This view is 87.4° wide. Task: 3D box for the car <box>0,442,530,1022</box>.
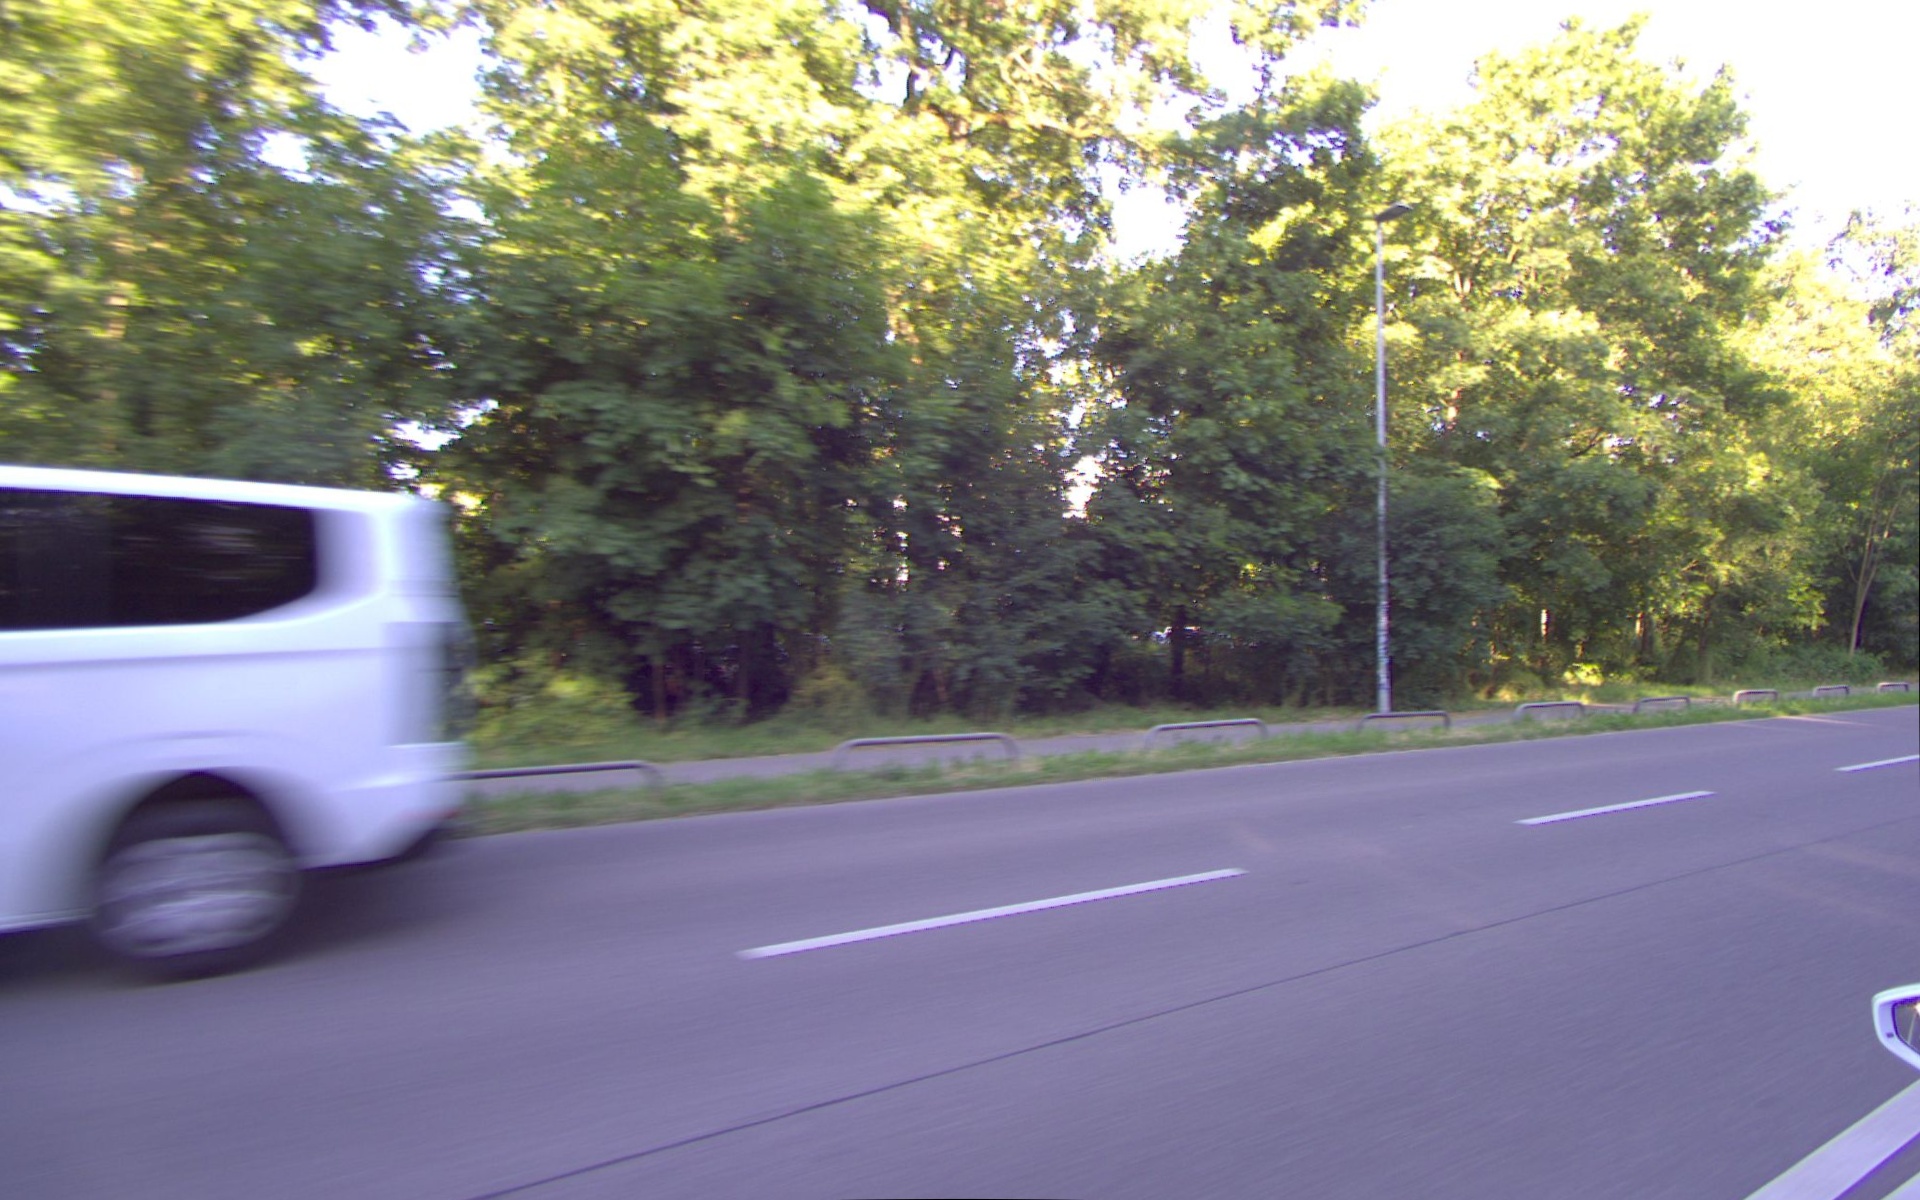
[{"bbox_3d":[-4.511,0.437,3.927,4.943,2.018,1.982,2,-1,-32],"label":"car"}]
